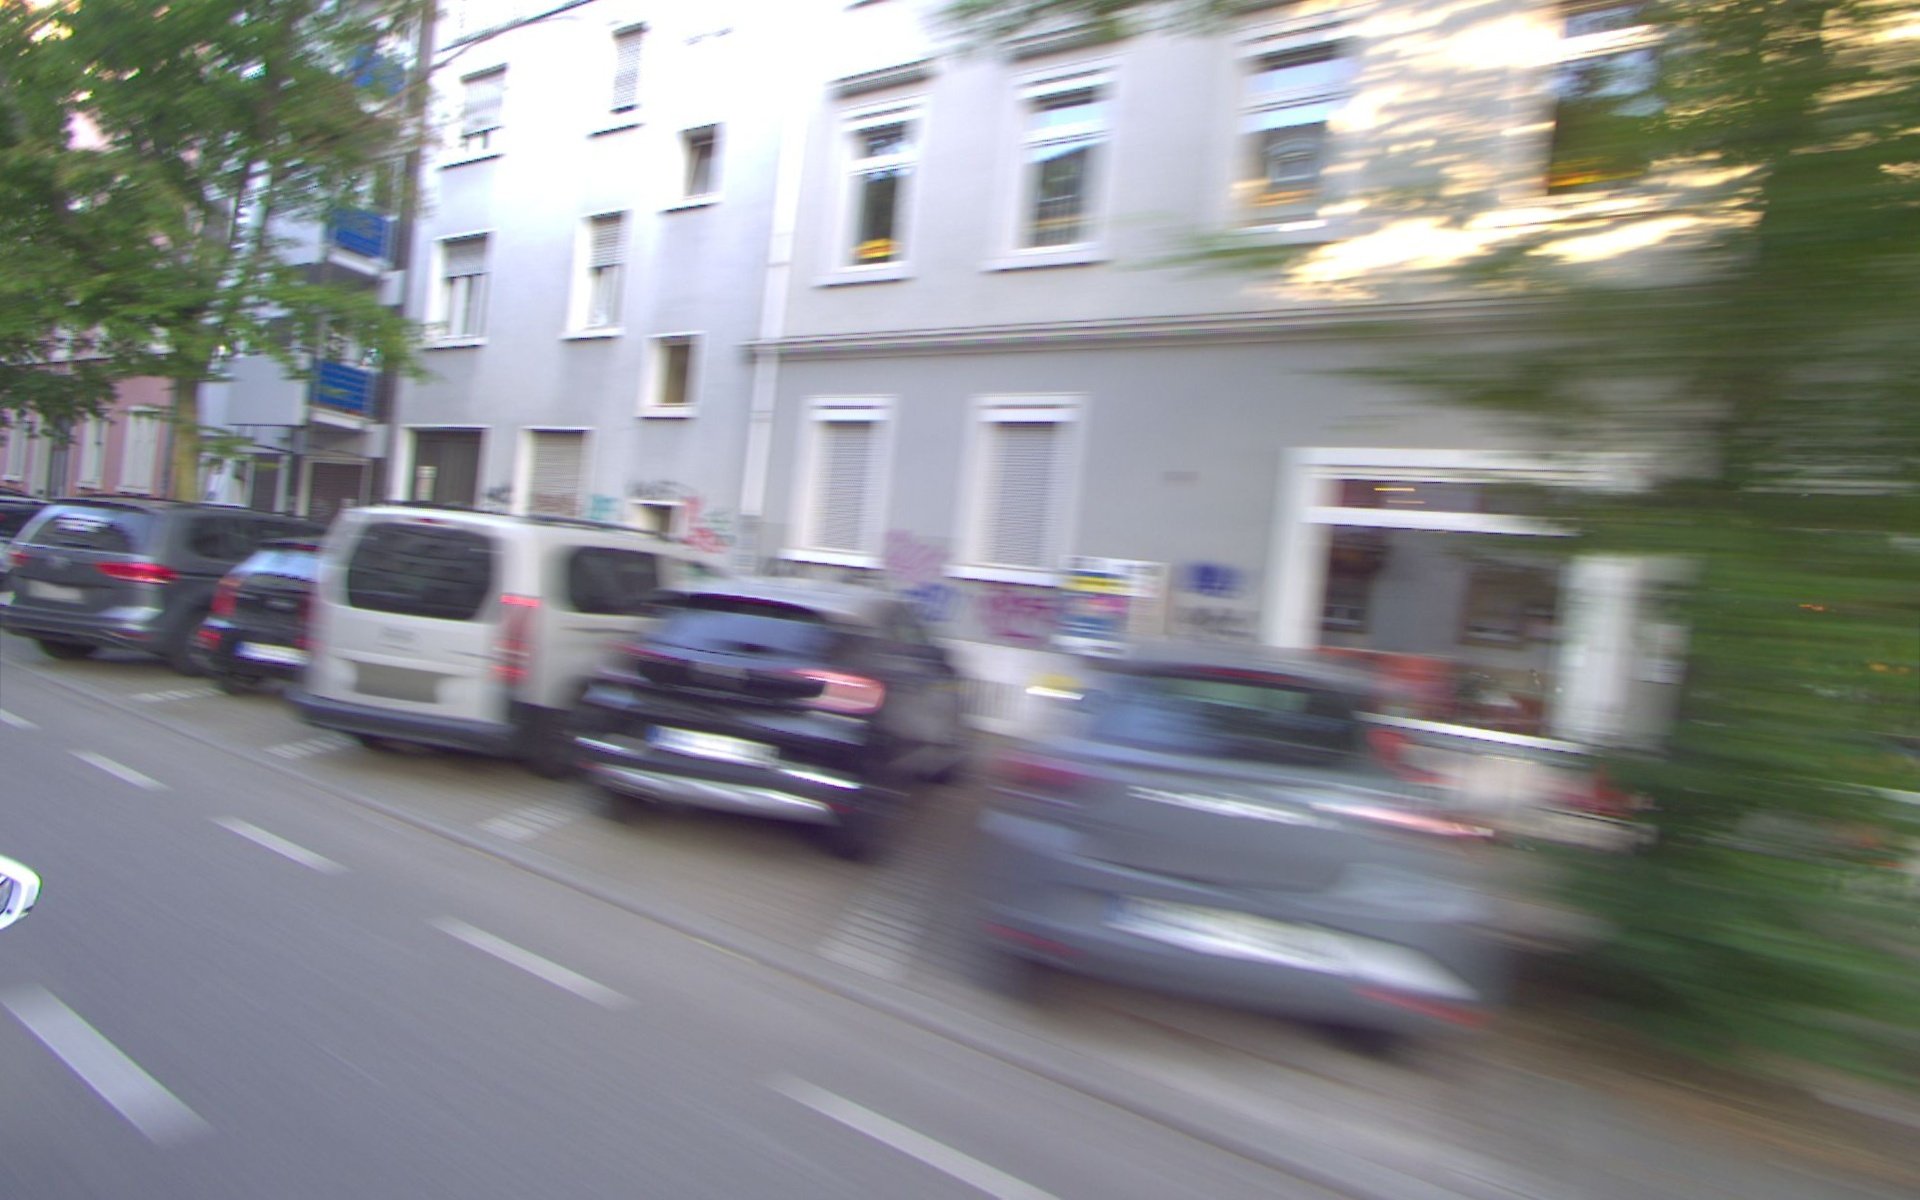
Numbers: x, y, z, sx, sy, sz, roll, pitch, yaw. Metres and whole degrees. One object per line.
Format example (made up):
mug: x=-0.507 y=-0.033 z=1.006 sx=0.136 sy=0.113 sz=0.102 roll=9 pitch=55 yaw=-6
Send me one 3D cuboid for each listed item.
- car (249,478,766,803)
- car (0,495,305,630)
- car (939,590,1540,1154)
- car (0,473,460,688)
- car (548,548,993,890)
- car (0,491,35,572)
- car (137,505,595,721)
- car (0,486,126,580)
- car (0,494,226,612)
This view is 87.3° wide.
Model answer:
car: x=-3.291 y=0.261 z=8.326 sx=1.789 sy=1.839 sz=4.000 roll=7 pitch=1 yaw=11
car: x=-10.989 y=-0.452 z=13.055 sx=1.687 sy=1.482 sz=4.001 roll=7 pitch=0 yaw=14
car: x=1.285 y=0.931 z=5.261 sx=1.745 sy=1.559 sz=4.003 roll=7 pitch=-1 yaw=12
car: x=-7.689 y=-0.165 z=10.859 sx=1.811 sy=1.717 sz=4.193 roll=7 pitch=0 yaw=10
car: x=-0.976 y=0.683 z=7.288 sx=1.687 sy=1.585 sz=4.003 roll=7 pitch=-1 yaw=10
car: x=-20.458 y=-1.520 z=19.034 sx=1.687 sy=1.573 sz=3.975 roll=8 pitch=1 yaw=14
car: x=-5.638 y=0.144 z=10.242 sx=1.687 sy=1.586 sz=4.002 roll=7 pitch=0 yaw=10
car: x=-18.478 y=-1.362 z=18.939 sx=1.687 sy=1.613 sz=4.001 roll=8 pitch=1 yaw=11
car: x=-13.068 y=-0.696 z=14.061 sx=1.687 sy=1.482 sz=4.392 roll=7 pitch=0 yaw=14
